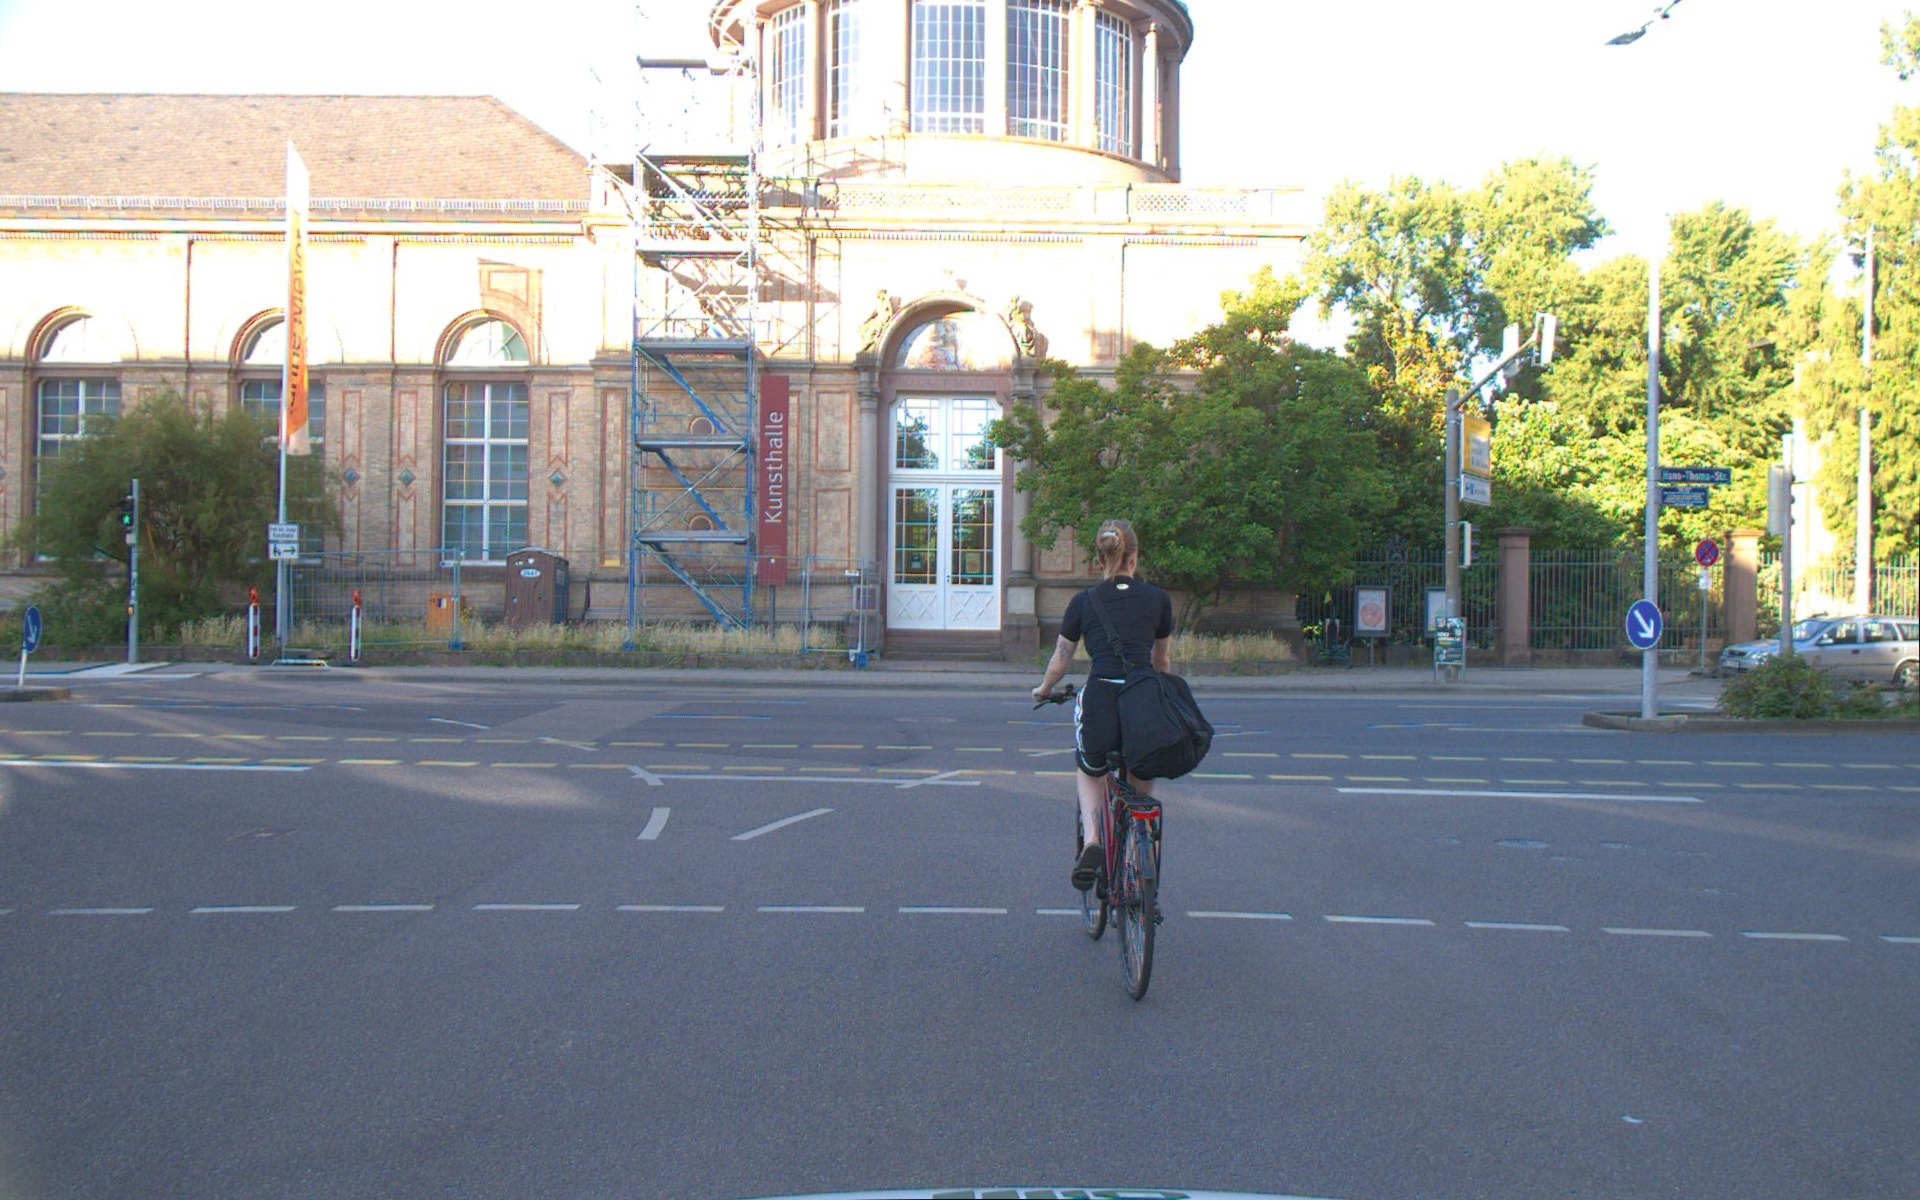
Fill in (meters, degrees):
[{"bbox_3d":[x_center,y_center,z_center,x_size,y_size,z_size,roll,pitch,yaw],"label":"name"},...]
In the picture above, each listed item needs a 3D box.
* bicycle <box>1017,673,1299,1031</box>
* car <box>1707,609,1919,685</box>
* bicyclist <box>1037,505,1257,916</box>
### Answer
[{"bbox_3d":[0.719,0.904,6.688,0.698,1.176,2.066,1,-2,-6],"label":"bicycle"},{"bbox_3d":[17.664,0.942,33.771,4.104,1.470,1.713,1,0,-6],"label":"car"},{"bbox_3d":[0.725,0.425,6.633,0.702,1.529,0.849,1,-2,-7],"label":"bicyclist"}]
